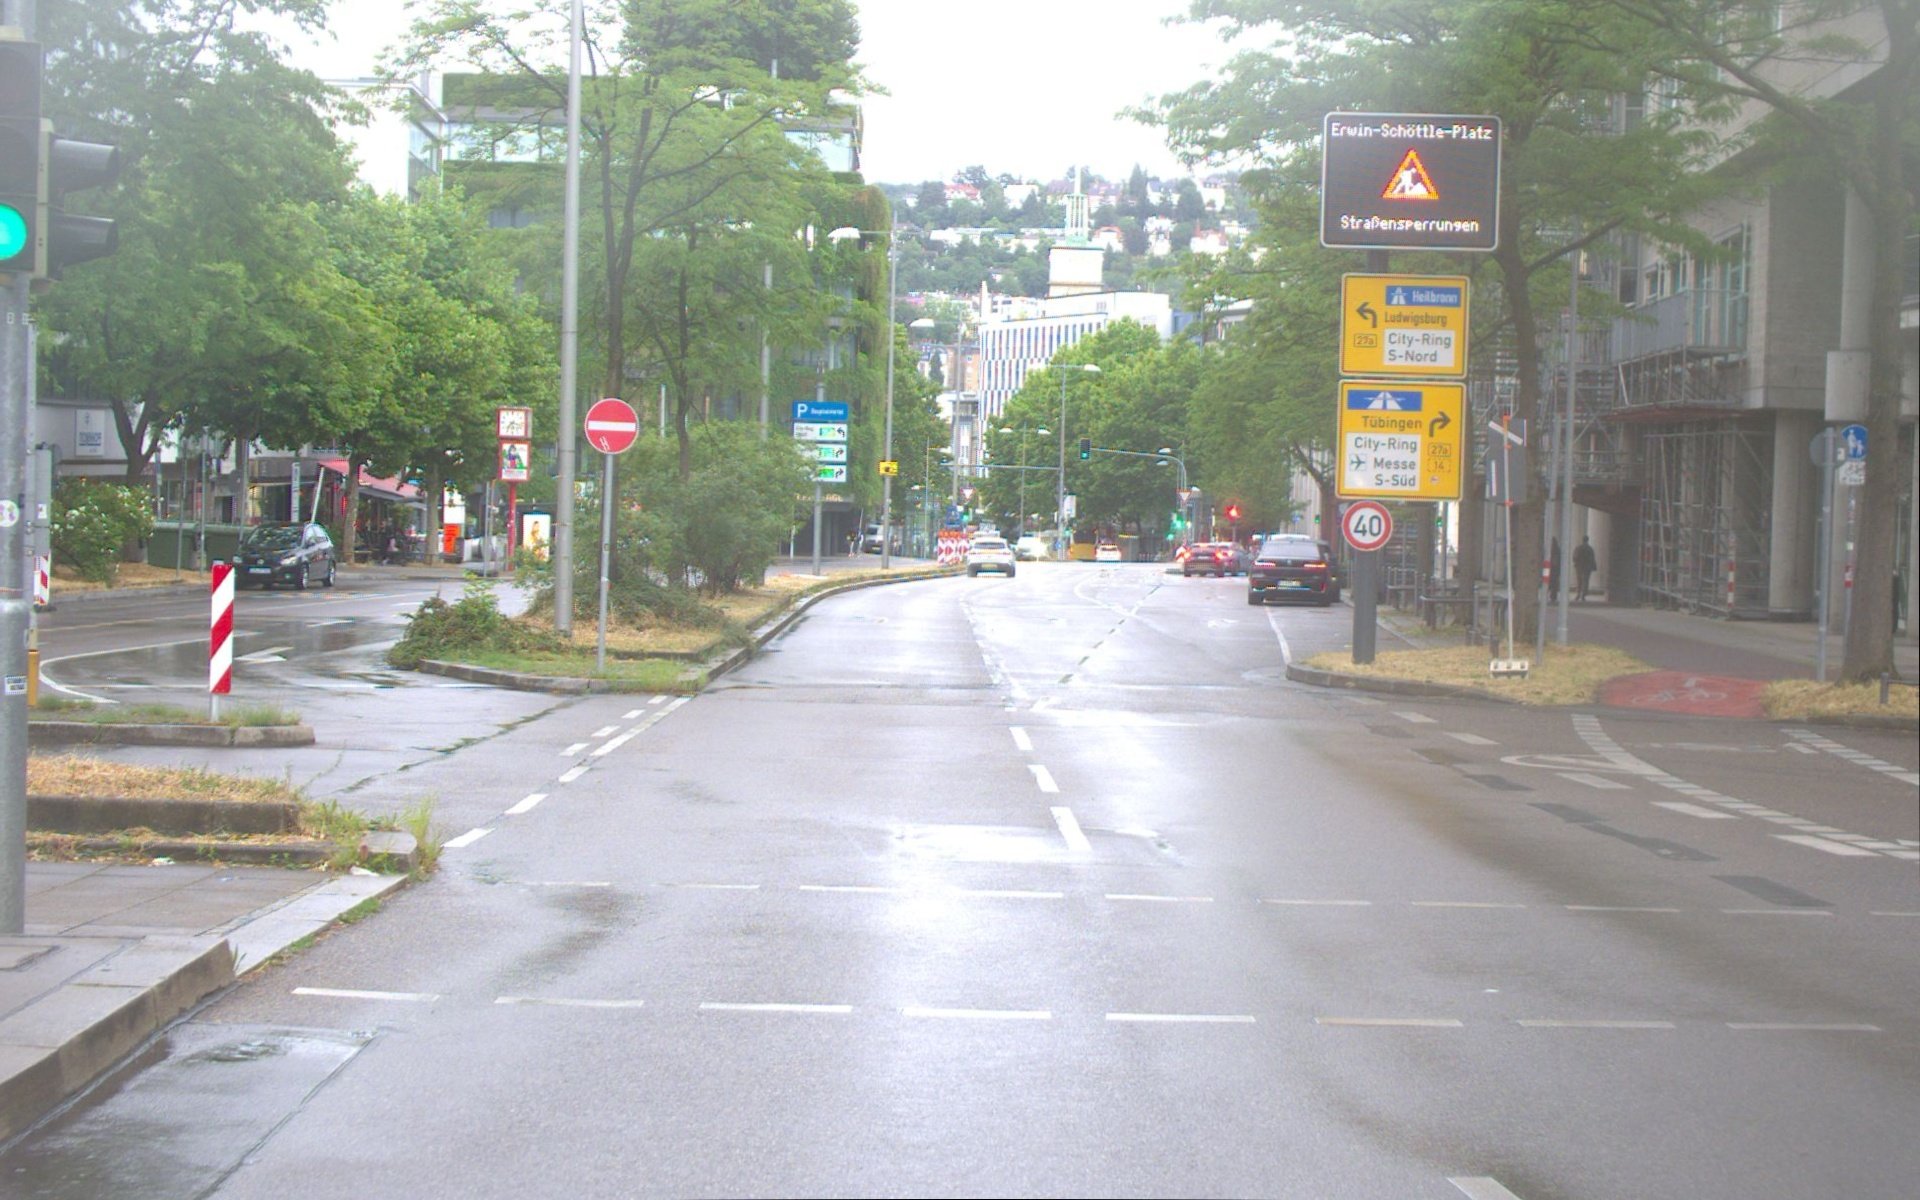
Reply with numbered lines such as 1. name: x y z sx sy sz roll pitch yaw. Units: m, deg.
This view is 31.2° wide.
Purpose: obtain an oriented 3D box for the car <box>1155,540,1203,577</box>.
1. car: 10.544 -1.980 165.945 1.993 1.730 4.000 1 0 -1

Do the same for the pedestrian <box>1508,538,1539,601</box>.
1. pedestrian: 17.249 -0.935 105.237 0.775 1.914 0.702 1 0 -1

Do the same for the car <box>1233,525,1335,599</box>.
1. car: 7.812 -0.924 82.561 2.339 1.685 3.999 1 1 7

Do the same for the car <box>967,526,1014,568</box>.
1. car: 1.268 -2.176 141.875 1.828 1.634 4.300 2 0 1

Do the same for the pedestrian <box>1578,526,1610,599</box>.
1. pedestrian: 16.655 -0.983 90.348 0.775 1.914 0.702 1 0 10

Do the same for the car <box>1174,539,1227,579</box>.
1. car: 10.797 -1.848 154.843 1.993 1.718 4.000 1 0 -1
